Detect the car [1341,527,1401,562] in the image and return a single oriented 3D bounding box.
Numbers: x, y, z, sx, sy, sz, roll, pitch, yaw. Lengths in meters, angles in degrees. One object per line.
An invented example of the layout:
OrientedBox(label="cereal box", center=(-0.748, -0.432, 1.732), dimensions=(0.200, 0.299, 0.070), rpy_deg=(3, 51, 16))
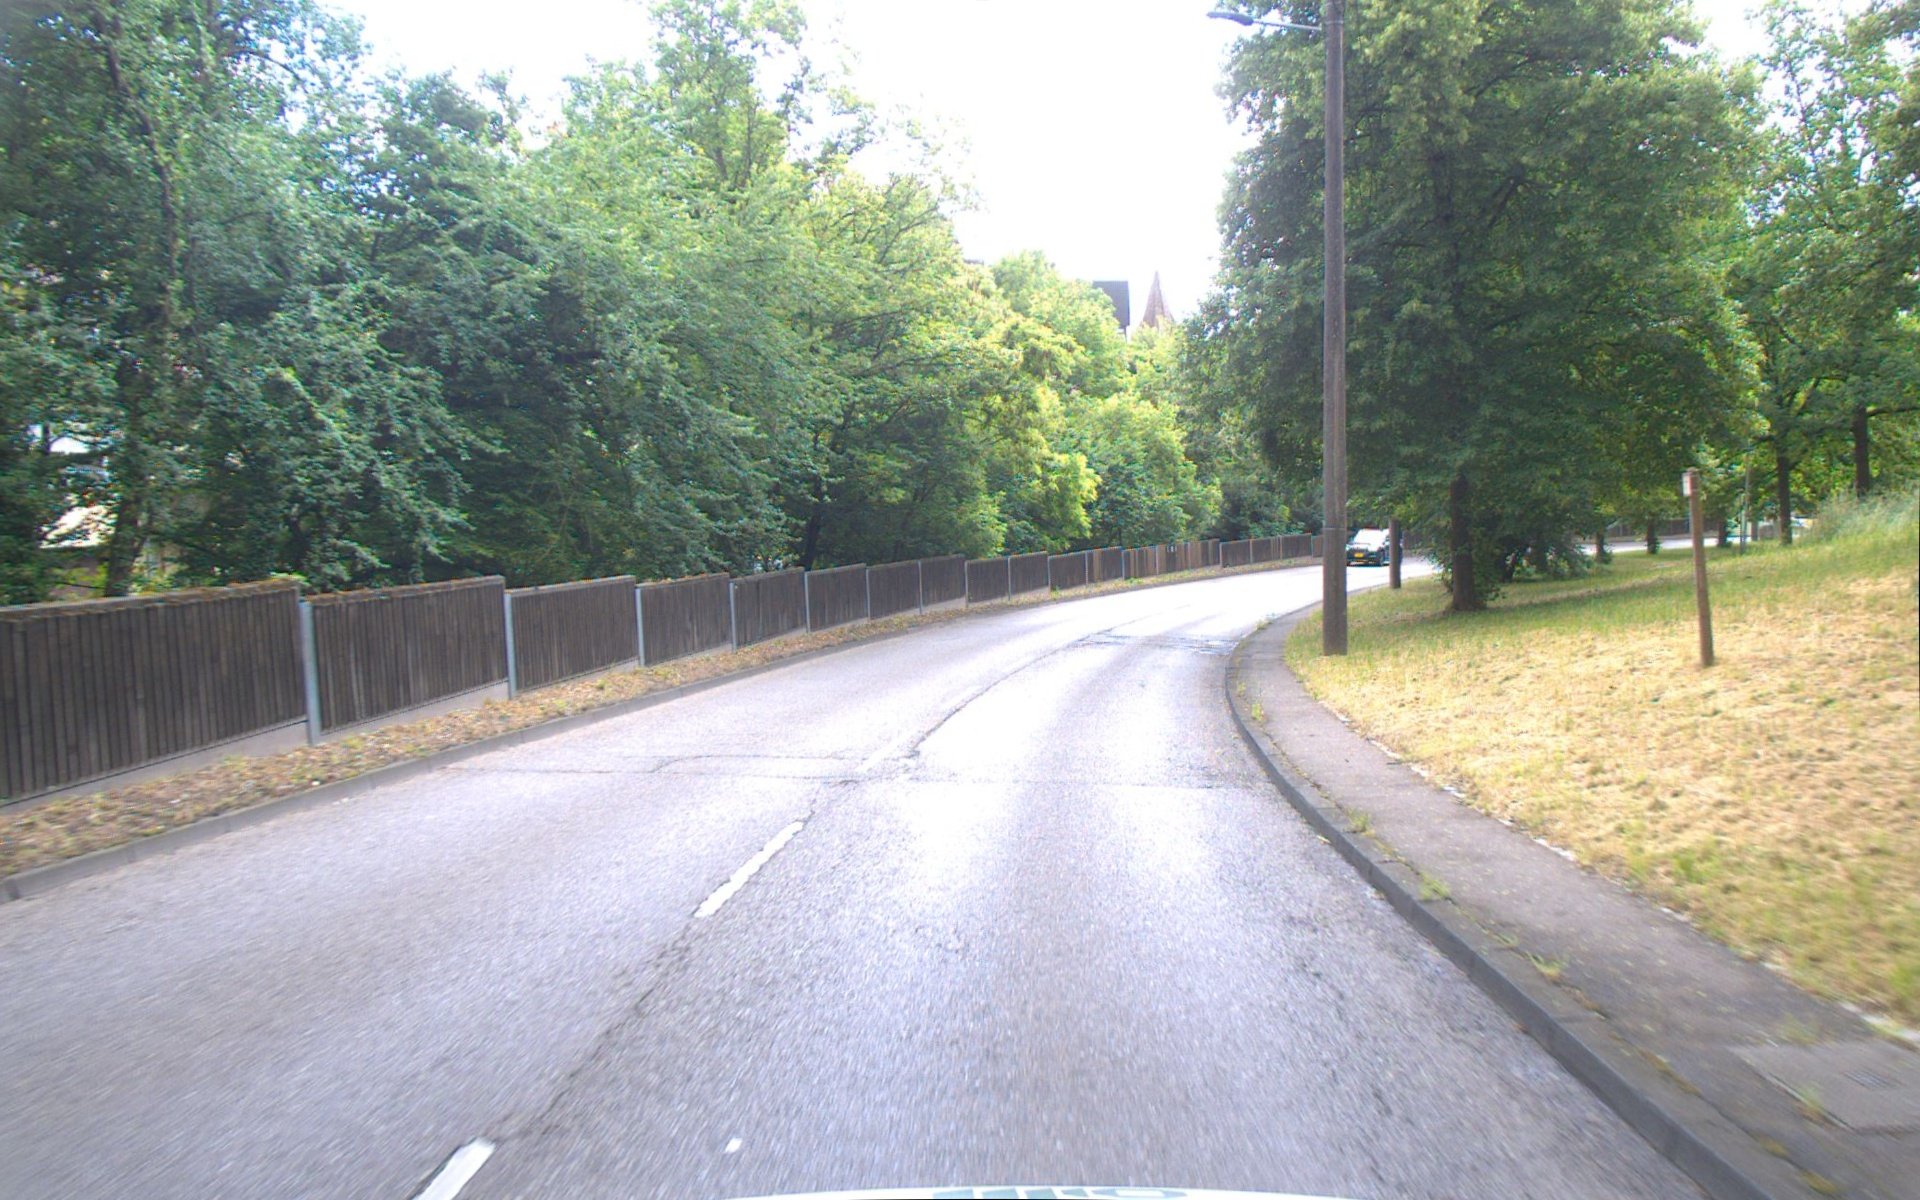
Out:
OrientedBox(label="car", center=(18.980, -2.585, 76.324), dimensions=(1.809, 1.591, 4.230), rpy_deg=(1, 3, 27))
